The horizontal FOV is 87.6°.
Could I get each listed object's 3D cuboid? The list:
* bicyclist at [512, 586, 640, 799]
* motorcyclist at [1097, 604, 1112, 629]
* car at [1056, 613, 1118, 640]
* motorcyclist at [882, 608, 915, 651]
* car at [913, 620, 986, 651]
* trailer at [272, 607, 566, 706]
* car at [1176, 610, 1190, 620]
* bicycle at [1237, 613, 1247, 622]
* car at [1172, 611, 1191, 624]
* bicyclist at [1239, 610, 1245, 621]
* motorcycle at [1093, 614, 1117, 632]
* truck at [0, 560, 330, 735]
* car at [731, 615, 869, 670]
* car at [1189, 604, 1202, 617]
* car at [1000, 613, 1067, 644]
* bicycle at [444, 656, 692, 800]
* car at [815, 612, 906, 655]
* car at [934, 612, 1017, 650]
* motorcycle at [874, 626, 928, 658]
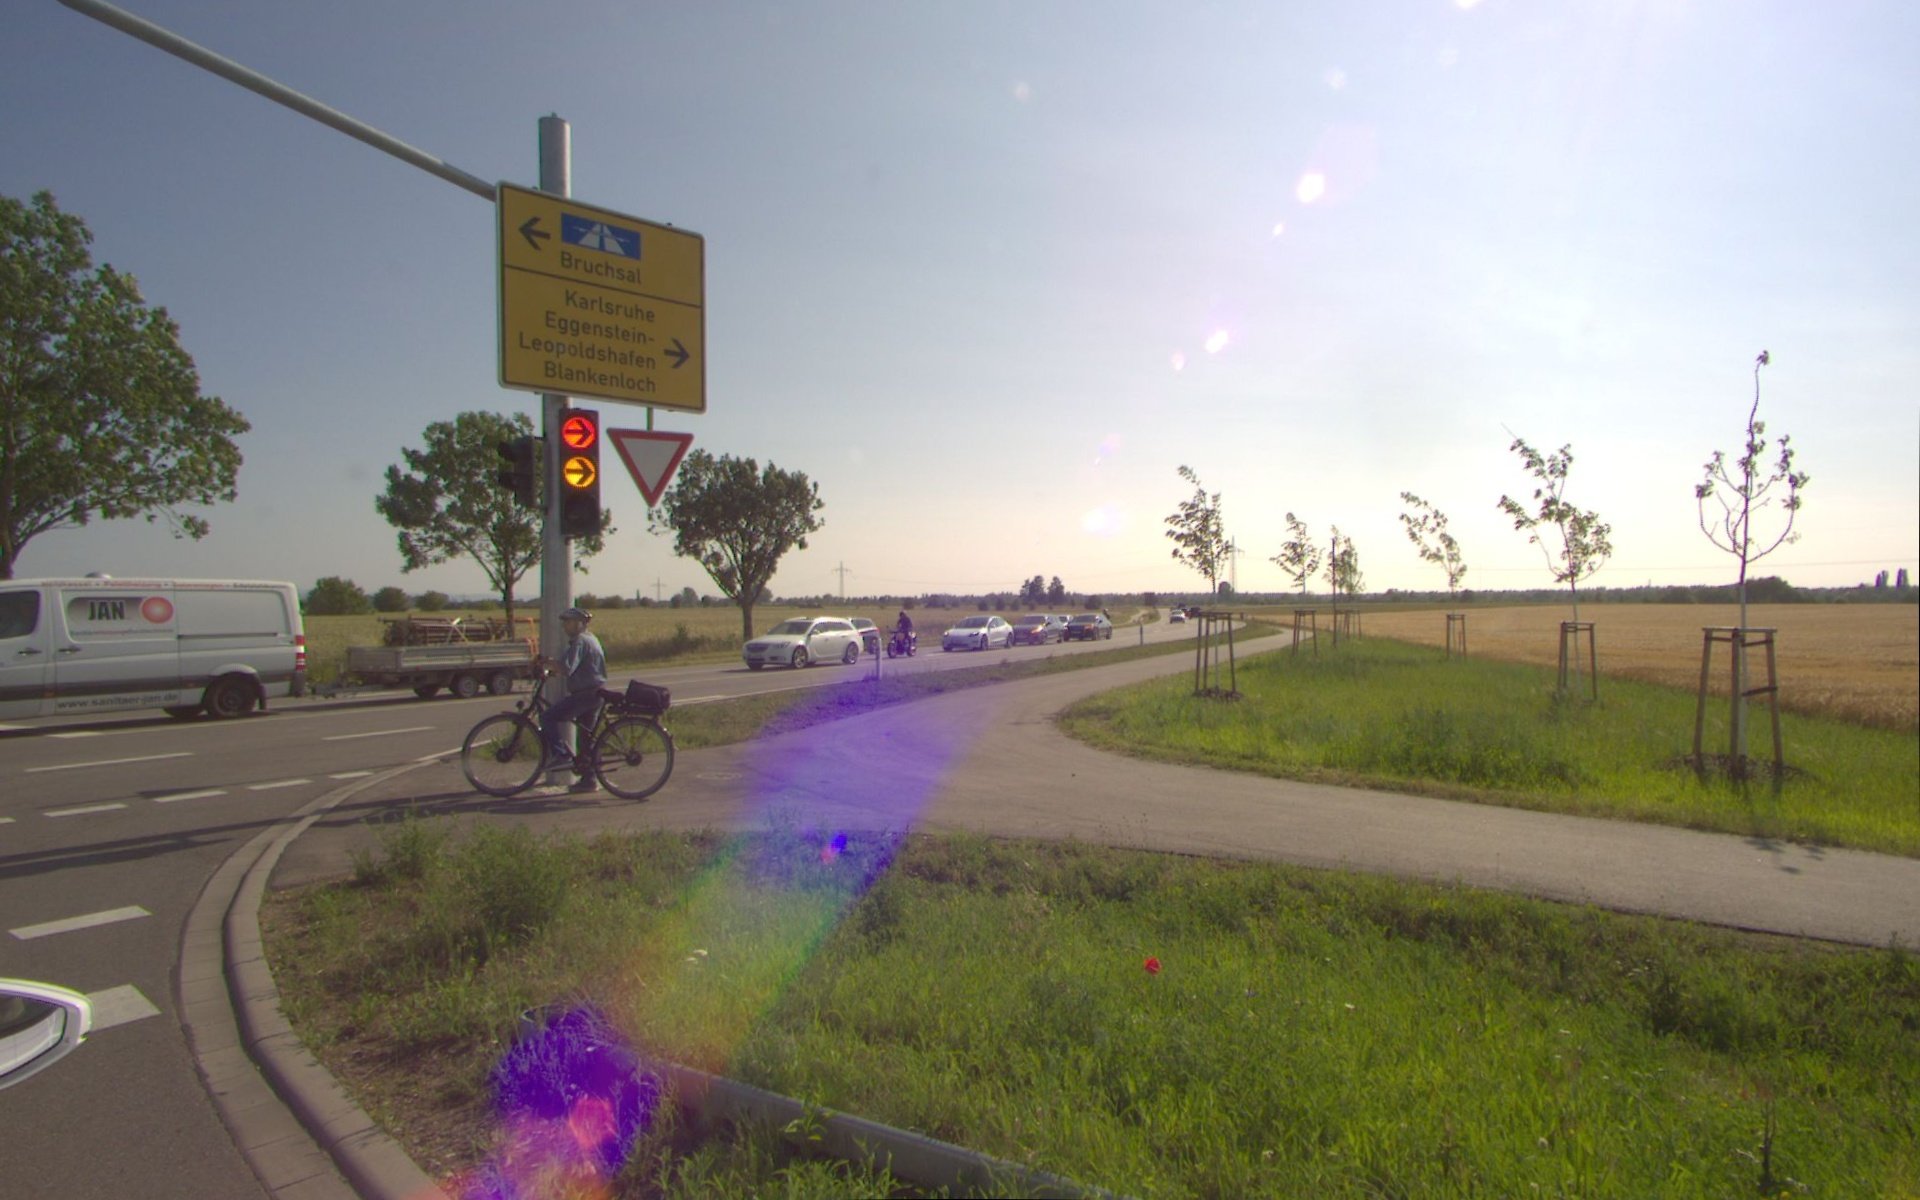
[{"bbox_3d":[-3.365,0.811,8.845,0.901,1.787,0.619,3,-2,-13],"label":"bicyclist"},{"bbox_3d":[8.722,0.989,60.318,0.669,1.515,0.844,-1,0,25],"label":"motorcyclist"},{"bbox_3d":[7.075,1.435,55.404,1.866,1.455,4.779,-1,-1,27],"label":"car"},{"bbox_3d":[-2.254,1.068,36.684,0.670,1.535,1.176,-1,0,27],"label":"motorcyclist"},{"bbox_3d":[-0.467,1.719,49.266,1.610,1.394,4.403,-3,-2,29],"label":"car"},{"bbox_3d":[-10.804,1.045,20.448,1.952,1.760,4.988,-2,-1,31],"label":"trailer"},{"bbox_3d":[42.193,2.843,189.534,1.940,1.703,4.107,-1,-1,4],"label":"car"},{"bbox_3d":[38.720,2.389,137.607,0.831,1.157,2.206,2,0,2],"label":"bicycle"},{"bbox_3d":[25.538,1.967,115.455,1.662,1.421,3.993,-2,-1,19],"label":"car"},{"bbox_3d":[38.722,2.153,137.591,0.627,1.476,0.817,2,1,2],"label":"bicyclist"},{"bbox_3d":[8.748,1.373,60.394,0.859,1.087,1.962,-1,0,25],"label":"motorcycle"},{"bbox_3d":[-13.623,0.696,15.612,2.042,2.436,6.167,-1,-1,32],"label":"truck"},{"bbox_3d":[-4.826,1.257,30.911,1.738,1.511,4.690,-1,-1,27],"label":"car"},{"bbox_3d":[34.867,1.591,148.247,1.811,1.858,4.464,1,0,12],"label":"car"},{"bbox_3d":[3.652,1.373,49.130,1.866,1.480,4.292,-1,-1,25],"label":"car"},{"bbox_3d":[-3.387,1.120,8.835,1.910,1.165,0.681,3,-2,-13],"label":"bicycle"},{"bbox_3d":[-4.106,1.375,41.840,1.862,1.646,3.984,-3,-2,27],"label":"car"},{"bbox_3d":[0.738,1.301,42.904,1.867,1.485,4.260,-2,-1,27],"label":"car"},{"bbox_3d":[-2.146,1.529,36.832,0.885,1.057,2.419,-1,0,26],"label":"motorcycle"}]
